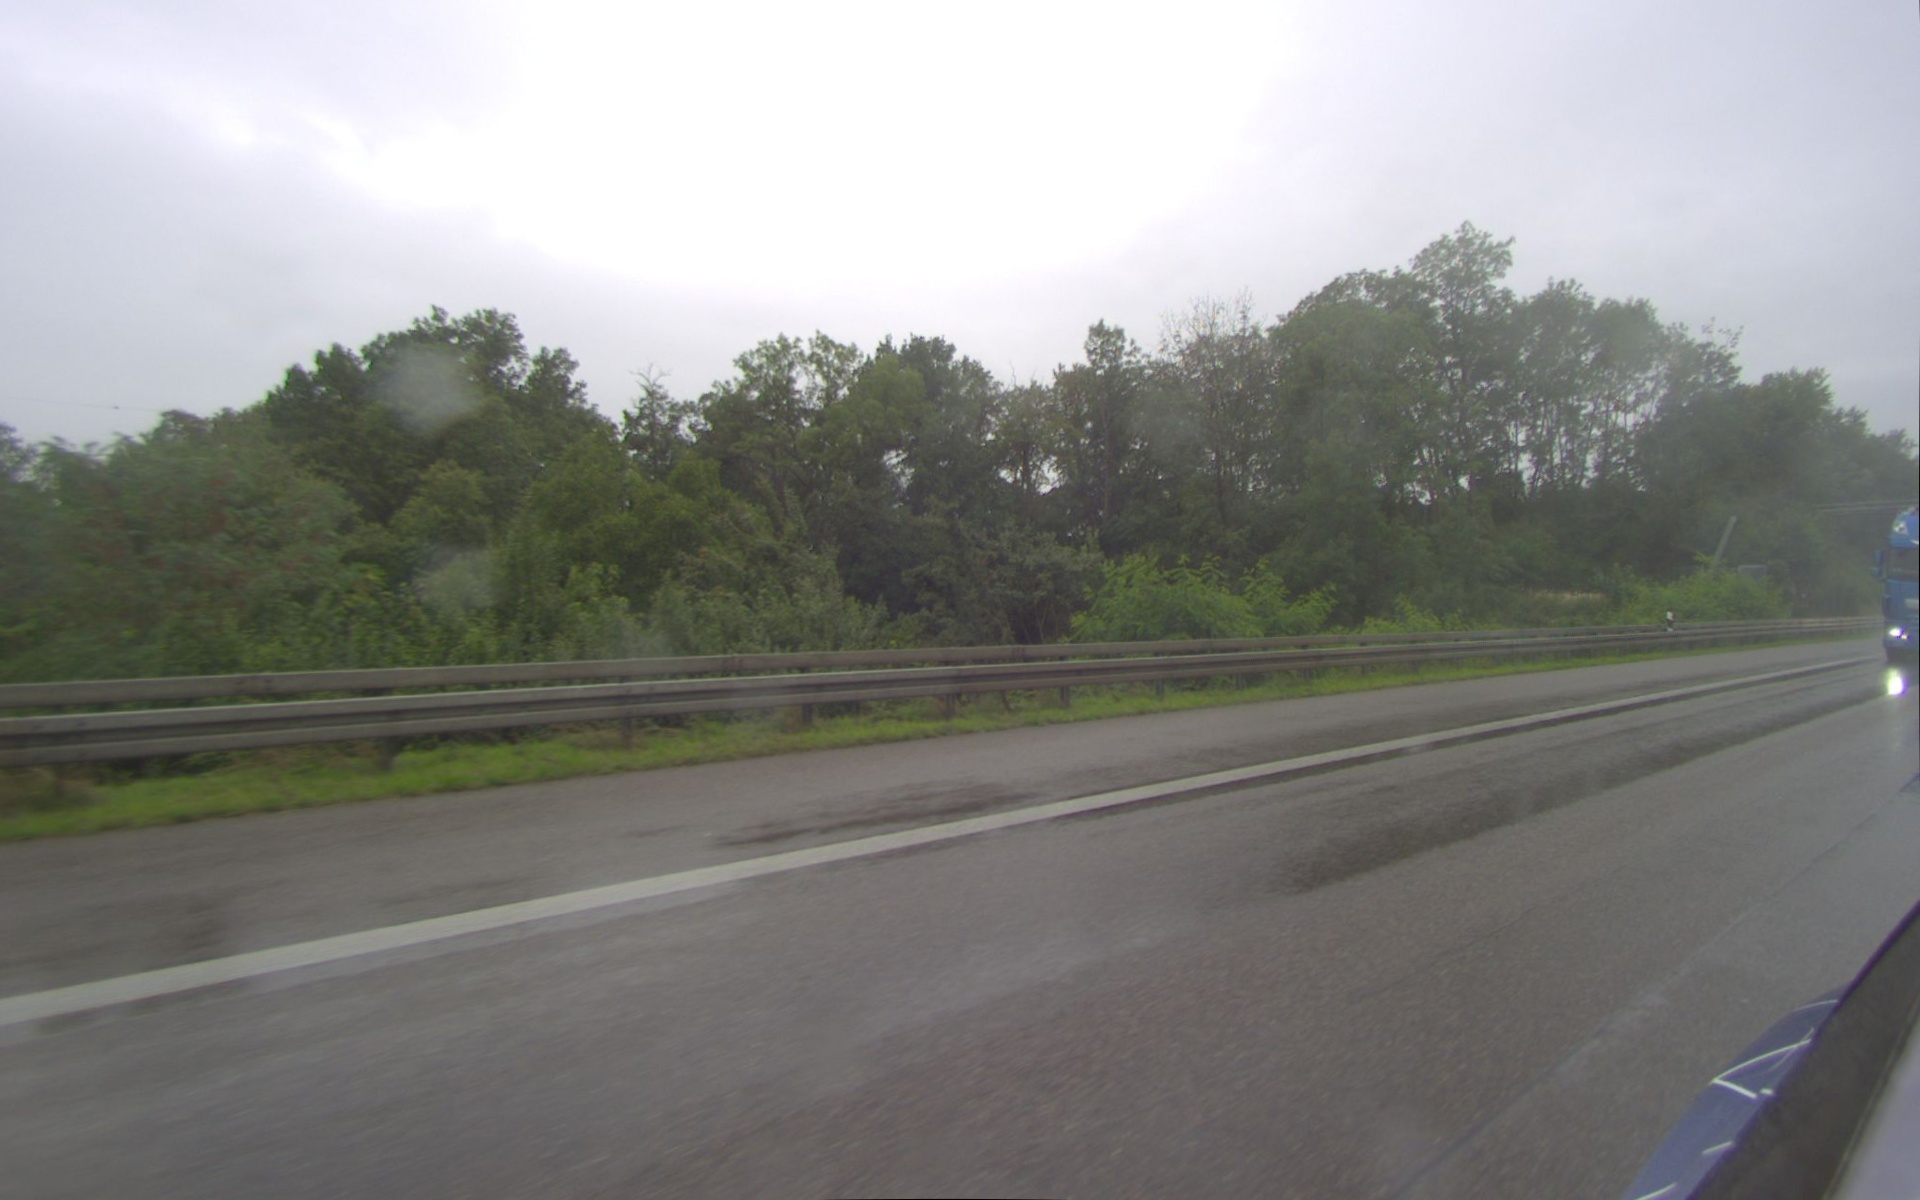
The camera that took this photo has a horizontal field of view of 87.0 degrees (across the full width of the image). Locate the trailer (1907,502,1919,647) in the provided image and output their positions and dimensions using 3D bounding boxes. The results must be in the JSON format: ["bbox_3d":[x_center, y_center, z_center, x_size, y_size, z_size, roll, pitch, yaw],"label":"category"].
[{"bbox_3d":[32.599,-0.753,31.570,13.877,4.014,2.750,0,0,-40],"label":"trailer"}]

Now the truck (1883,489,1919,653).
[{"bbox_3d":[27.025,-0.748,26.920,6.366,4.129,2.755,0,1,-39],"label":"truck"}]
